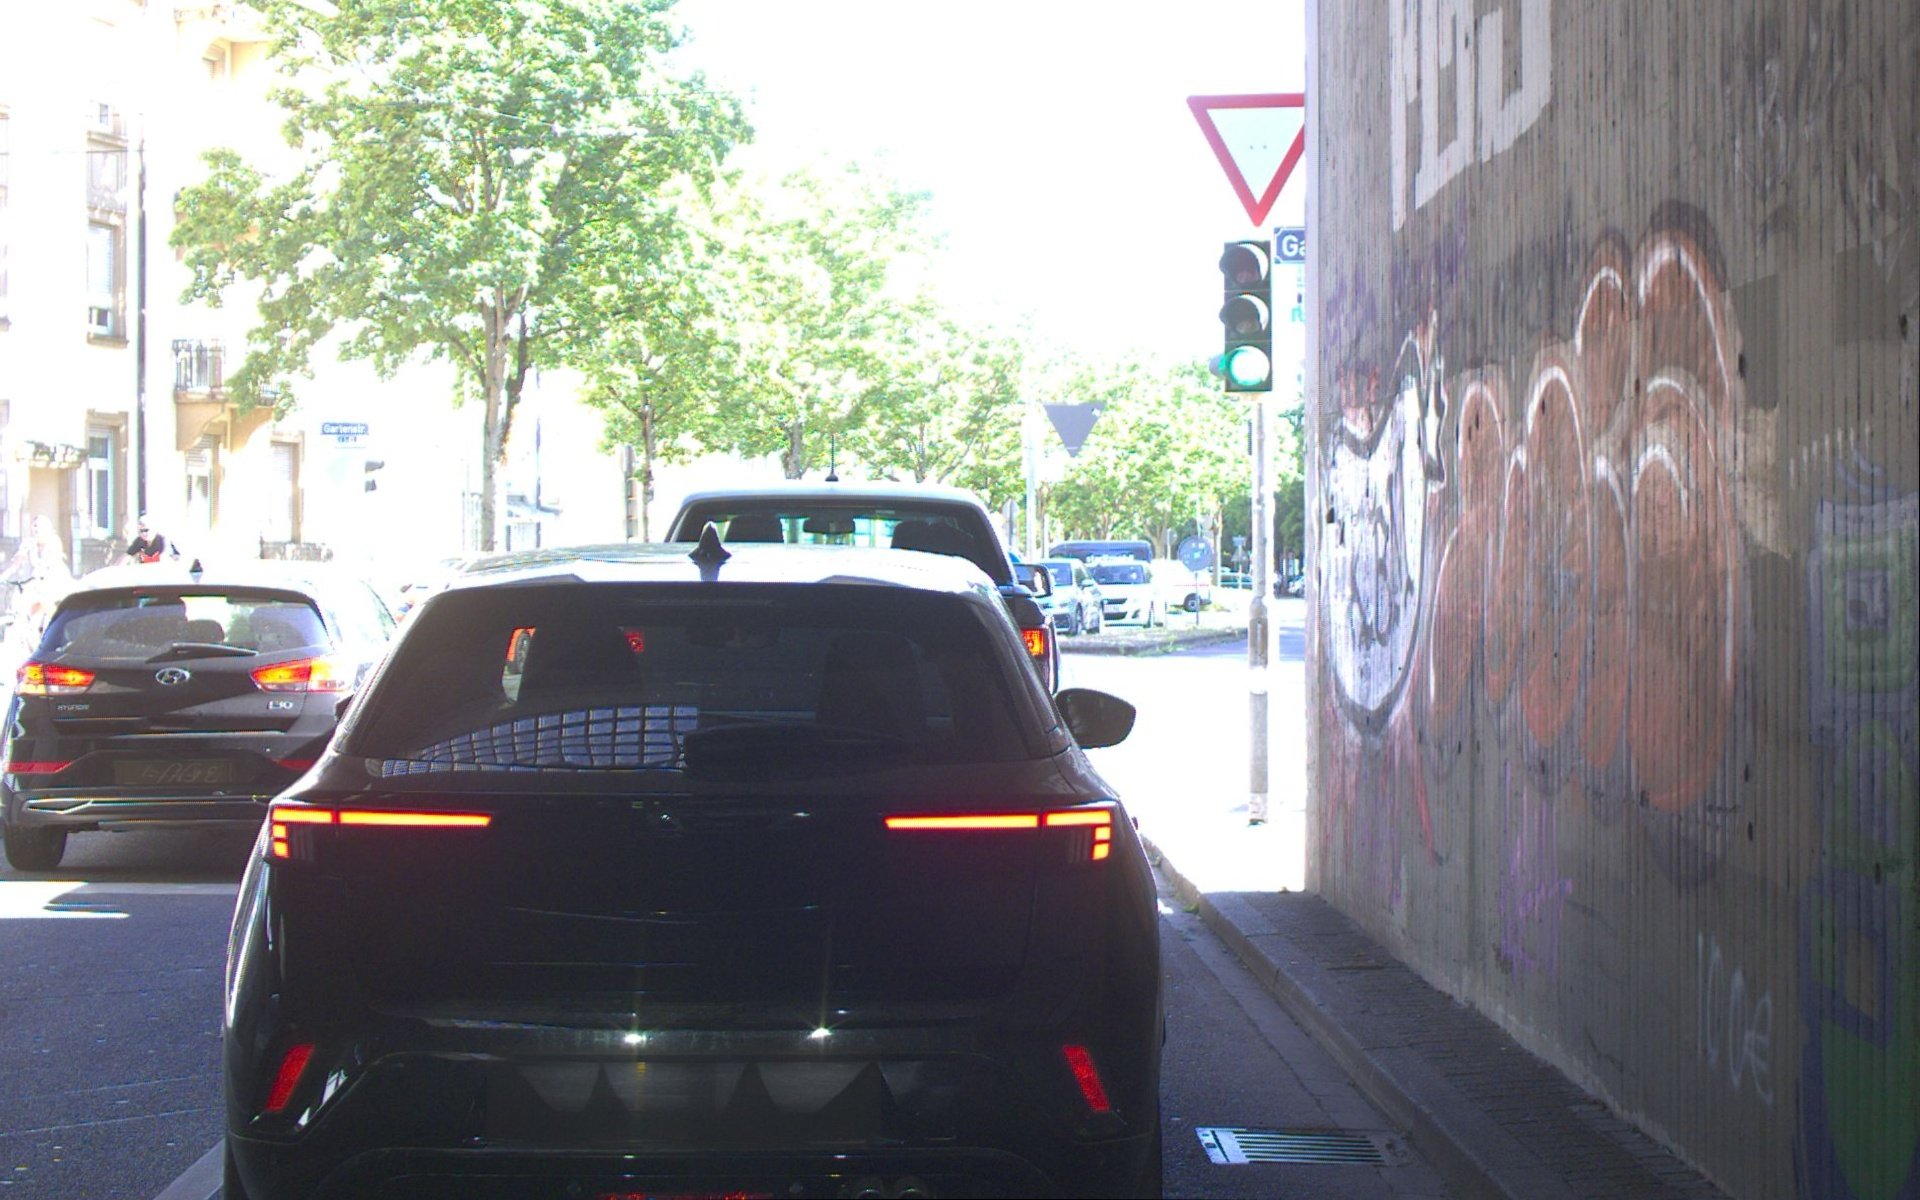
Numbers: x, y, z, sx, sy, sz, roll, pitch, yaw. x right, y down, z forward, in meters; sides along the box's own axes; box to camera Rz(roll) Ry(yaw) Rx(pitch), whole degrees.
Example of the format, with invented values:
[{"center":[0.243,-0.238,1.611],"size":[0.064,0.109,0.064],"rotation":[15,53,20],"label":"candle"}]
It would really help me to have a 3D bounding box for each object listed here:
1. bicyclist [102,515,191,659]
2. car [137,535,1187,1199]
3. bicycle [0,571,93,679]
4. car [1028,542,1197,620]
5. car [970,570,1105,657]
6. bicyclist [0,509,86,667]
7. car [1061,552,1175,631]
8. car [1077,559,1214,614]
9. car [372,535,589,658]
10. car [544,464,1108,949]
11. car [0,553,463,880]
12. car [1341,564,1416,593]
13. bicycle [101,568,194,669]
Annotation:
[{"center":[-9.421,-0.158,39.851],"size":[0.782,1.654,1.031],"rotation":[0,1,0],"label":"bicyclist"},{"center":[-0.527,0.629,7.756],"size":[1.781,1.512,3.756],"rotation":[1,1,0],"label":"car"},{"center":[-9.564,0.245,35.691],"size":[0.525,1.086,1.860],"rotation":[0,1,5],"label":"bicycle"},{"center":[5.100,-0.651,115.034],"size":[5.259,2.537,1.986],"rotation":[-1,0,-15],"label":"car"},{"center":[1.398,0.216,60.457],"size":[1.708,1.447,3.849],"rotation":[0,1,12],"label":"car"},{"center":[-9.559,-0.128,35.821],"size":[0.606,1.627,0.910],"rotation":[0,1,5],"label":"bicyclist"},{"center":[3.245,-0.191,69.930],"size":[1.705,1.507,3.861],"rotation":[-2,0,11],"label":"car"},{"center":[7.164,-0.514,132.567],"size":[4.883,2.076,1.986],"rotation":[-1,0,-24],"label":"car"},{"center":[-5.837,-0.070,42.224],"size":[1.658,1.436,3.462],"rotation":[0,1,10],"label":"car"},{"center":[-0.707,0.364,15.494],"size":[2.132,1.829,4.941],"rotation":[0,1,-5],"label":"car"},{"center":[-3.671,0.496,17.682],"size":[1.800,1.446,4.327],"rotation":[-1,1,-3],"label":"car"},{"center":[23.315,-1.196,191.519],"size":[3.947,1.392,1.516],"rotation":[-2,0,2],"label":"car"},{"center":[-9.403,0.202,39.847],"size":[0.541,1.119,2.058],"rotation":[0,1,1],"label":"bicycle"}]
